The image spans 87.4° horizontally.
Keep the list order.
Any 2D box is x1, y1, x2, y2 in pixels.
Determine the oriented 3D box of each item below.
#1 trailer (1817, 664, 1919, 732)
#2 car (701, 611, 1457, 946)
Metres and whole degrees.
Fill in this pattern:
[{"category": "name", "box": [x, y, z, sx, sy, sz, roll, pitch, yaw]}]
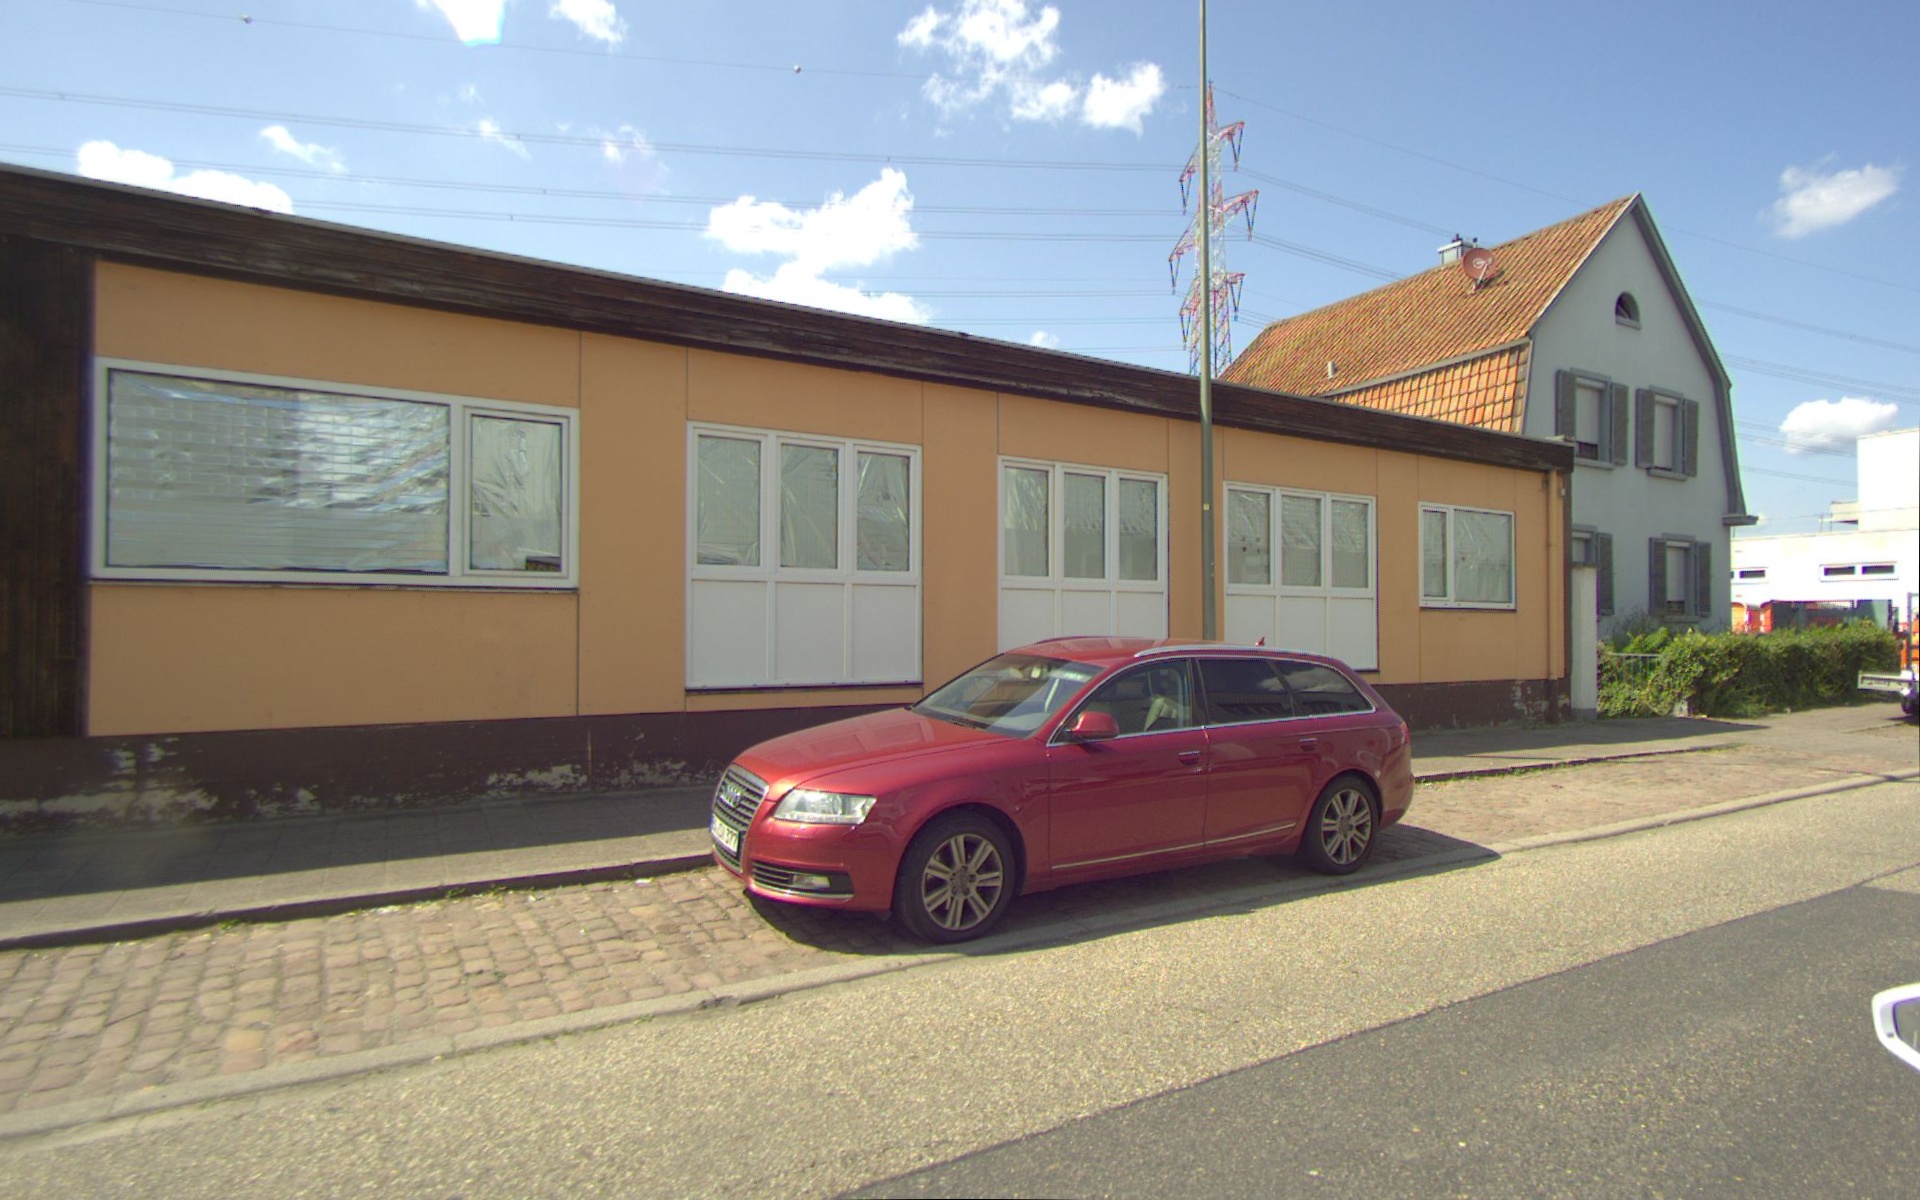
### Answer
[{"category": "trailer", "box": [16.478, 1.568, 16.233, 5.504, 0.905, 2.351, 2, 0, -30]}, {"category": "car", "box": [0.914, 0.869, 6.431, 4.685, 1.467, 1.753, 2, 0, -30]}]
